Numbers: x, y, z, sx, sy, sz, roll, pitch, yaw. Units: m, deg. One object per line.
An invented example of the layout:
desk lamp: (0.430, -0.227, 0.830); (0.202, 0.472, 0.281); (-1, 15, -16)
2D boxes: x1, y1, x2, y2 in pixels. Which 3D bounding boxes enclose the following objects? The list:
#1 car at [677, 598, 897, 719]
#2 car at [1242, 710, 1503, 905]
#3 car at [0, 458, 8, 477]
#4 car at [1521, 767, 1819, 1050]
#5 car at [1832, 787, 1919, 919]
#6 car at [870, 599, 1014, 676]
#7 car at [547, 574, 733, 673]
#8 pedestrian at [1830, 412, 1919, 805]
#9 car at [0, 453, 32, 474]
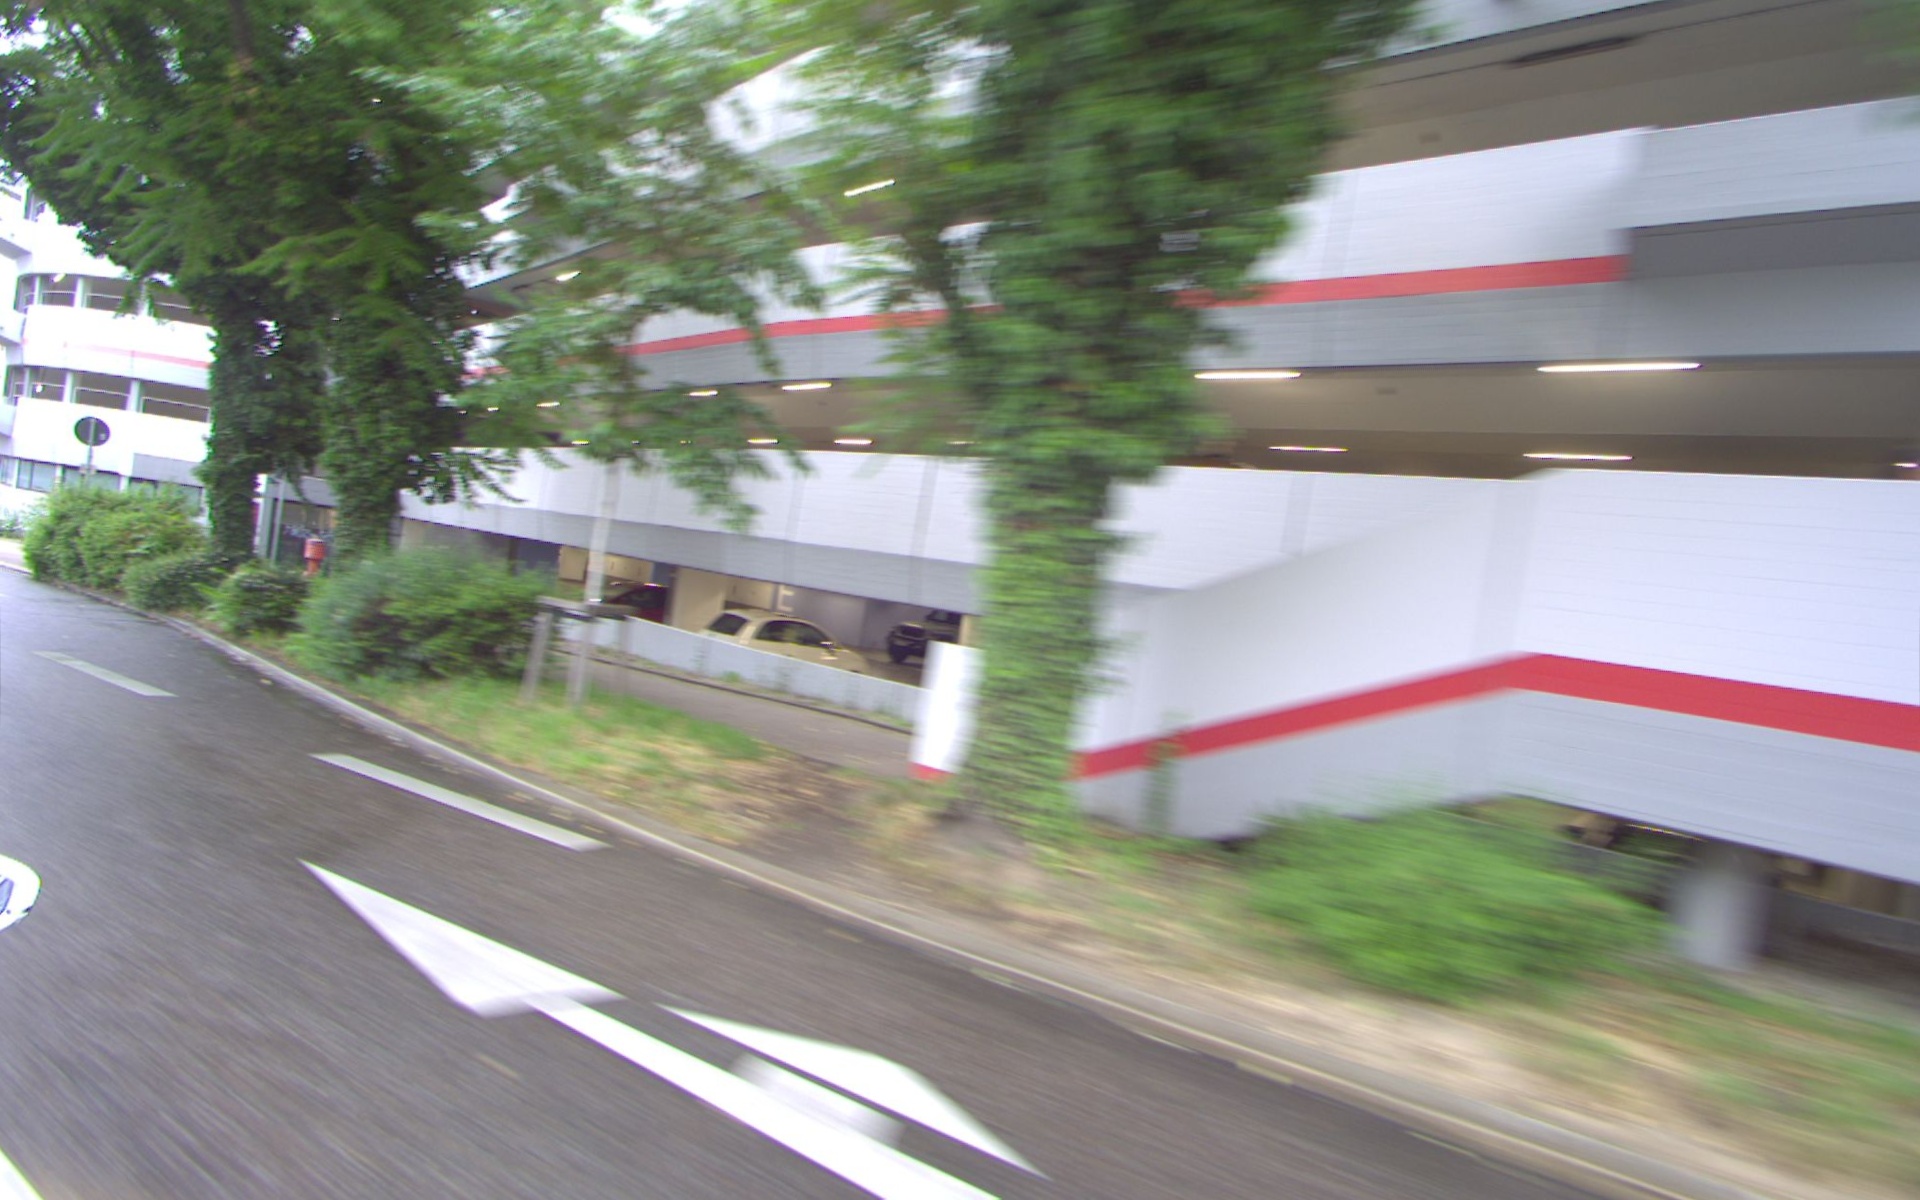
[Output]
car: (-3.114, 1.113, 18.480); (1.792, 1.804, 3.448); (7, 0, 44)
car: (5.008, 2.279, 11.914); (1.782, 1.559, 3.734); (11, 1, 37)
car: (-93.602, -12.934, 96.457); (1.974, 1.727, 3.975); (7, 1, -24)
car: (6.811, 2.678, 9.729); (1.810, 1.643, 3.989); (7, -1, 36)
car: (15.377, 4.068, 15.957); (1.810, 1.559, 3.988); (11, 1, 37)
car: (-0.469, 1.135, 29.480); (1.792, 1.804, 3.979); (7, 0, 44)
car: (-7.222, 0.558, 22.895); (1.792, 1.804, 3.448); (7, 0, 44)
pedestrian: (5.438, 0.056, 5.772); (0.427, 2.180, 0.421); (7, 1, 36)
car: (-96.104, -13.872, 101.801); (1.974, 1.727, 3.975); (7, 1, -24)
